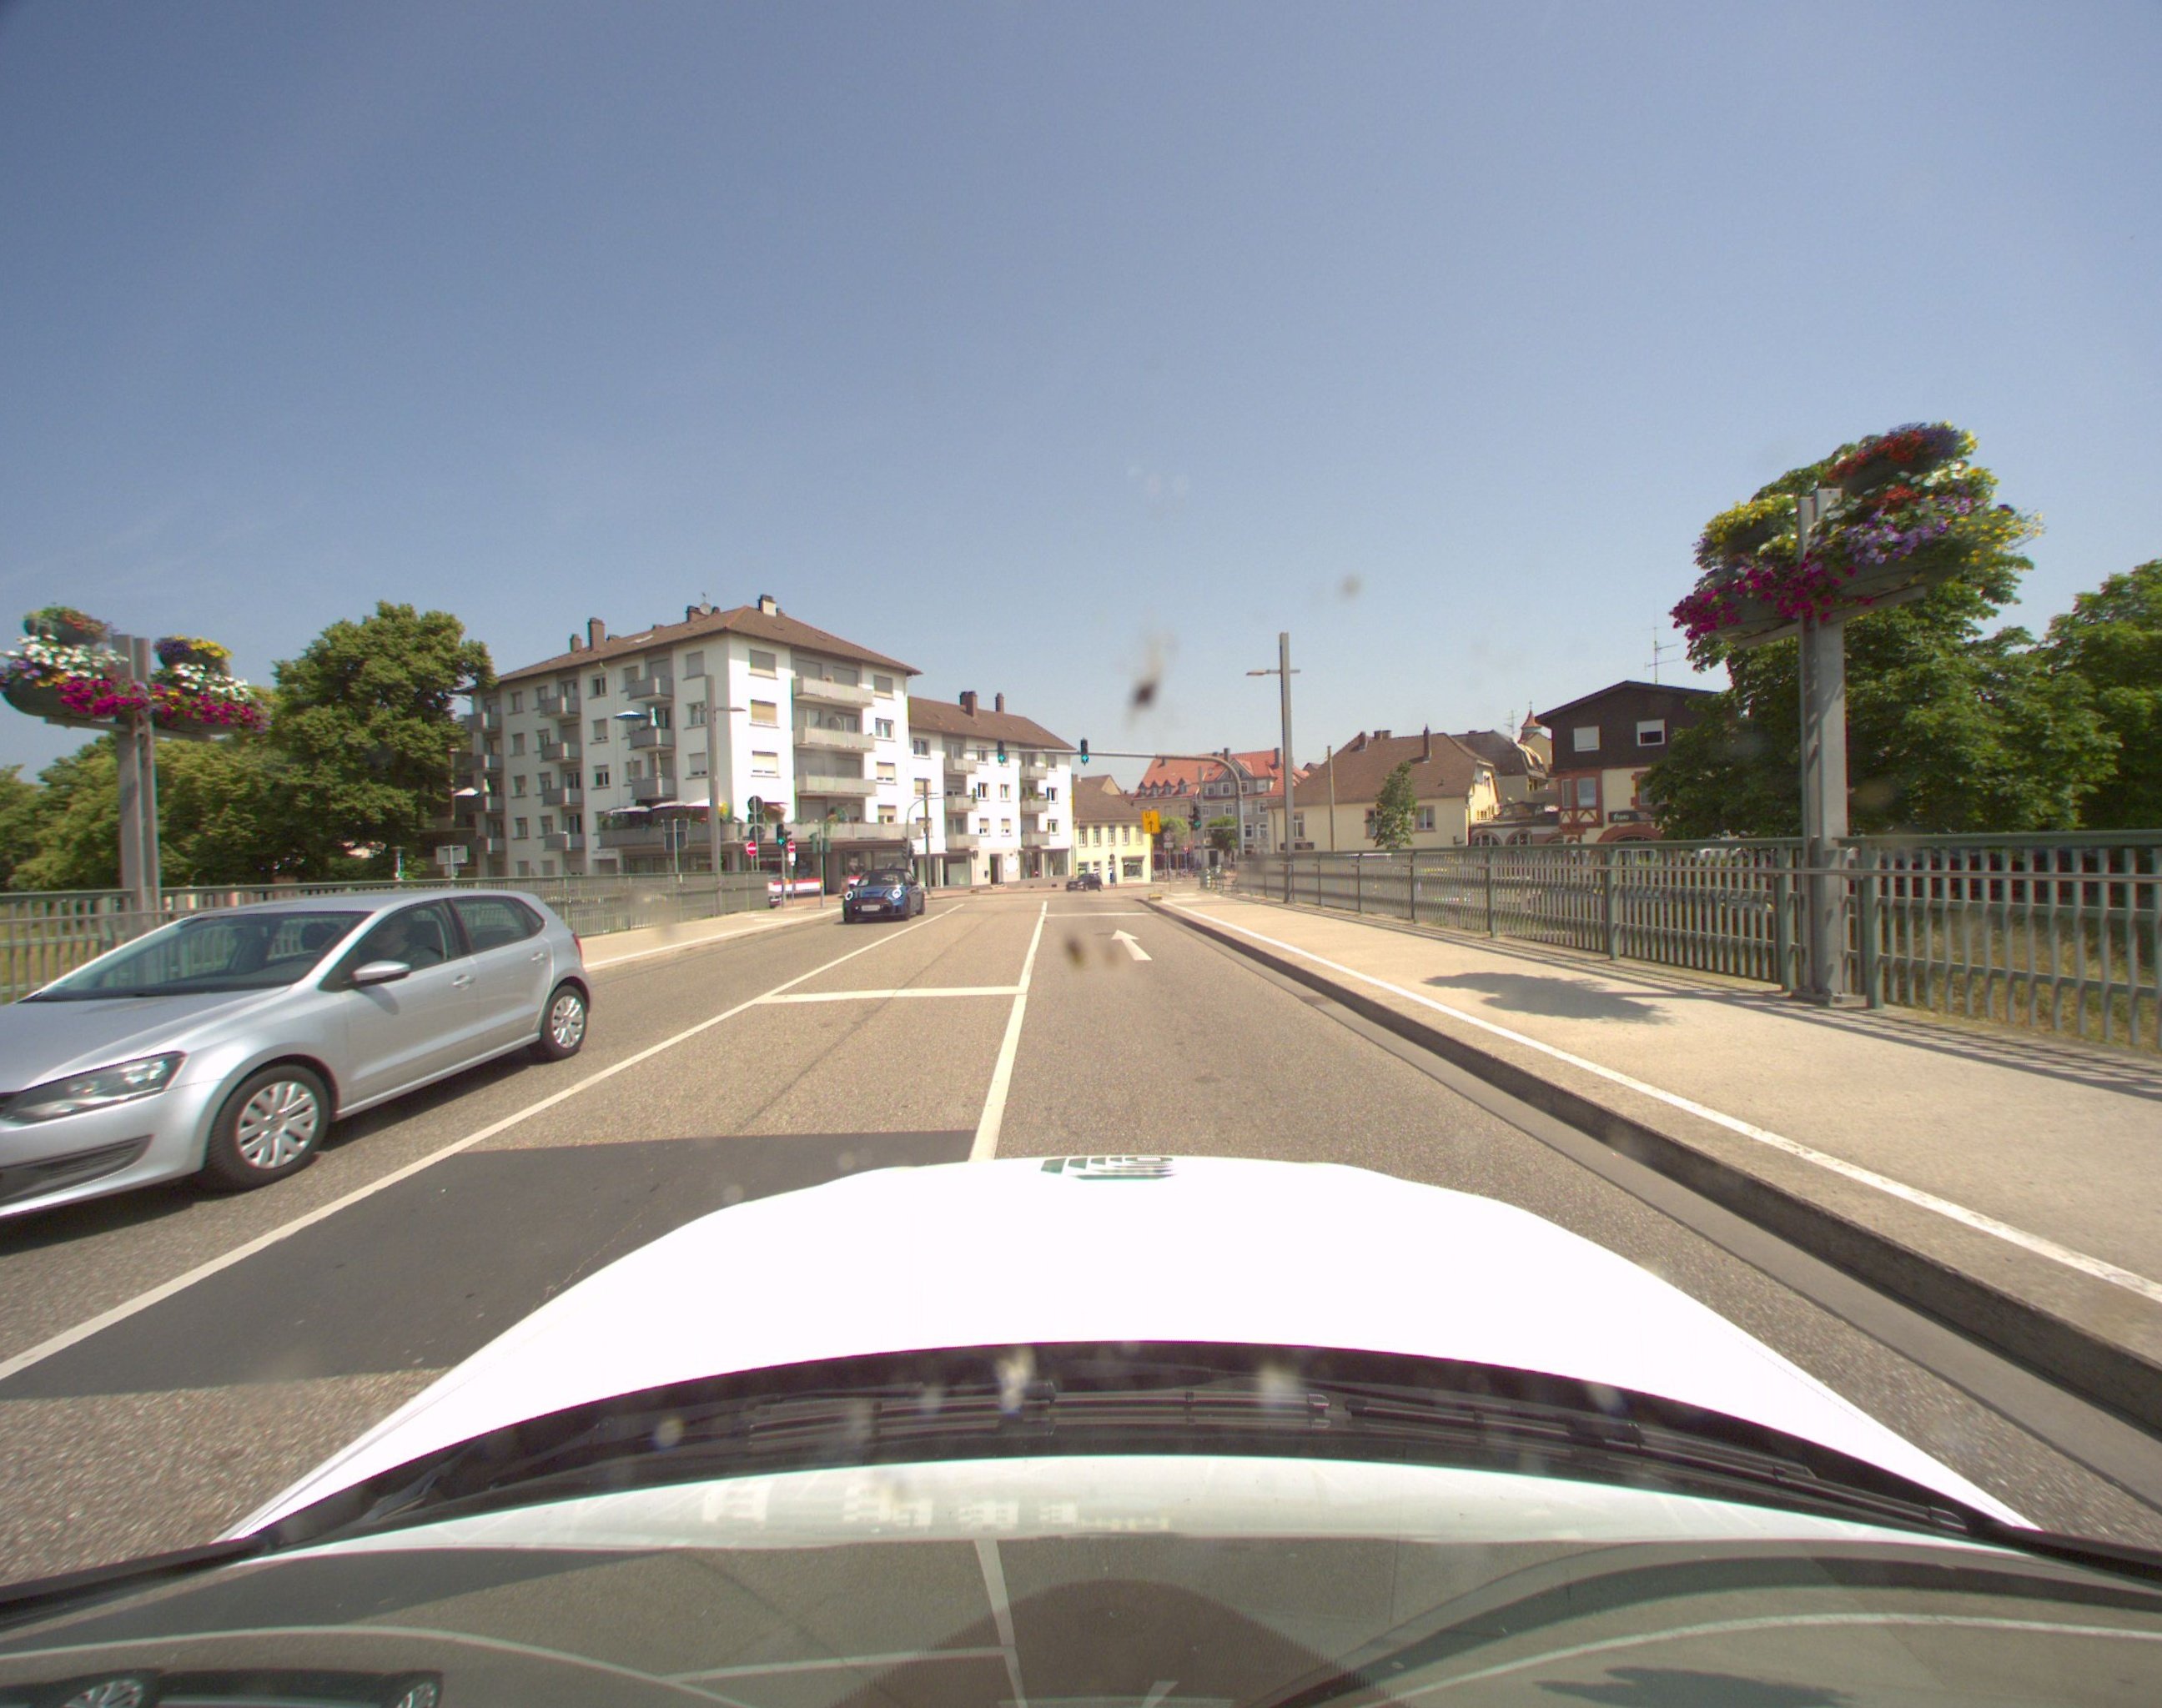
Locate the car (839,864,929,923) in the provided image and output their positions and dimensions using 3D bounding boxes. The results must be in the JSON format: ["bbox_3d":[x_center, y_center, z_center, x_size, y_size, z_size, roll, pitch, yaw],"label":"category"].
[{"bbox_3d":[-5.486,1.059,23.087,1.652,1.440,3.752,-3,-1,-2],"label":"car"}]

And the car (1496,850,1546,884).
[{"bbox_3d":[27.452,0.787,50.740,1.641,2.013,4.023,0,0,45],"label":"car"}]

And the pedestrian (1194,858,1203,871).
[{"bbox_3d":[17.860,1.580,124.069,1.020,1.980,1.027,0,0,33],"label":"pedestrian"}]

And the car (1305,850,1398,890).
[{"bbox_3d":[18.460,1.084,55.634,5.560,2.628,2.256,-1,0,32],"label":"car"}]

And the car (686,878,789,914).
[{"bbox_3d":[-16.377,2.012,38.870,4.336,1.420,1.710,-3,0,16],"label":"car"}]

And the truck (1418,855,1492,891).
[{"bbox_3d":[23.796,1.151,51.873,4.017,2.215,1.825,0,0,33],"label":"truck"}]

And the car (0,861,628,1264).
[{"bbox_3d":[-4.921,0.885,5.212,1.755,1.519,3.999,-3,0,-1],"label":"car"}]

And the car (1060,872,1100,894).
[{"bbox_3d":[-0.032,2.196,62.268,1.662,1.488,3.975,-4,-2,20],"label":"car"}]

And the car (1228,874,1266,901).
[{"bbox_3d":[9.744,1.942,48.143,1.743,1.471,4.259,0,-1,5],"label":"car"}]
